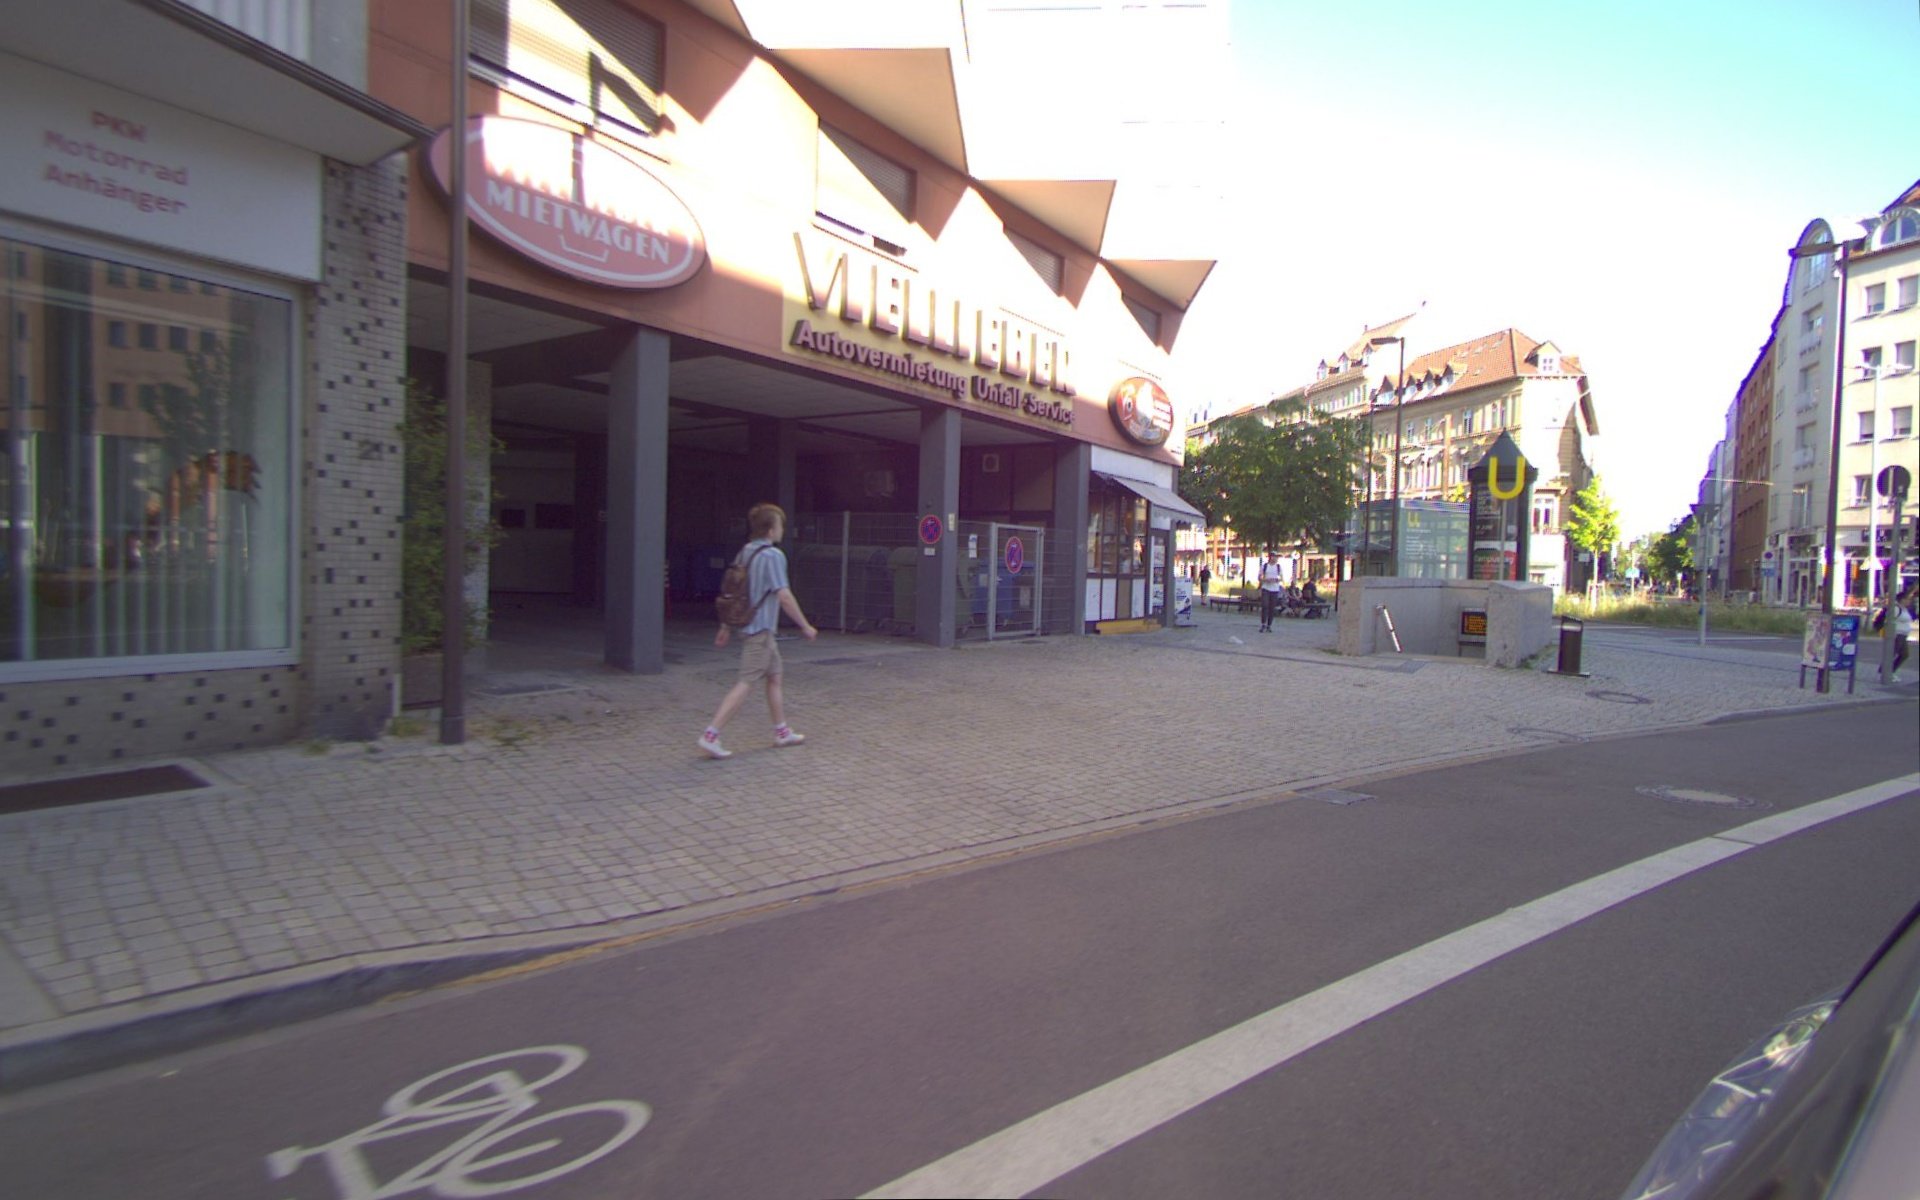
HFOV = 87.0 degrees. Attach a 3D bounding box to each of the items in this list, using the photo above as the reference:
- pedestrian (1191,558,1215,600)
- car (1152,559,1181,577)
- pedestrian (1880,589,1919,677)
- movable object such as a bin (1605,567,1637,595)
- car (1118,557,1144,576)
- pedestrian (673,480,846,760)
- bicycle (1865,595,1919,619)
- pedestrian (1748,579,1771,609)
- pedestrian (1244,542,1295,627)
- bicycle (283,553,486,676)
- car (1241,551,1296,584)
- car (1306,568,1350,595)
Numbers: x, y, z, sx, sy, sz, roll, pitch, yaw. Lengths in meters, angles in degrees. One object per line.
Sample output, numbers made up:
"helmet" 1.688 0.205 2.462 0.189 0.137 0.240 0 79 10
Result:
"pedestrian" 10.352 -0.895 43.111 0.702 1.767 0.684 1 1 -21
"car" 25.052 -3.885 122.878 2.189 2.039 4.350 0 0 -8
"pedestrian" 17.694 0.607 18.988 0.538 1.603 0.550 2 1 36
"movable object such as a bin" 42.726 -1.202 65.448 1.636 1.806 1.387 0 0 31
"car" 22.725 -4.401 134.962 2.189 2.413 4.350 0 0 -8
"pedestrian" -1.451 0.105 7.374 0.729 1.876 0.937 5 4 34
"bicycle" 40.879 0.294 44.380 0.450 1.003 1.869 -1 2 -11
"pedestrian" 44.857 -0.334 56.776 0.684 1.657 0.956 1 2 20
"pedestrian" 7.032 -0.356 23.025 0.673 1.889 1.047 1 1 -8
"bicycle" -5.405 0.109 9.590 0.493 1.051 1.618 3 2 34
"car" 29.321 -3.123 96.368 2.231 3.059 5.378 -1 2 -20
"car" 31.338 -1.574 86.220 1.775 2.208 3.937 0 2 -10
